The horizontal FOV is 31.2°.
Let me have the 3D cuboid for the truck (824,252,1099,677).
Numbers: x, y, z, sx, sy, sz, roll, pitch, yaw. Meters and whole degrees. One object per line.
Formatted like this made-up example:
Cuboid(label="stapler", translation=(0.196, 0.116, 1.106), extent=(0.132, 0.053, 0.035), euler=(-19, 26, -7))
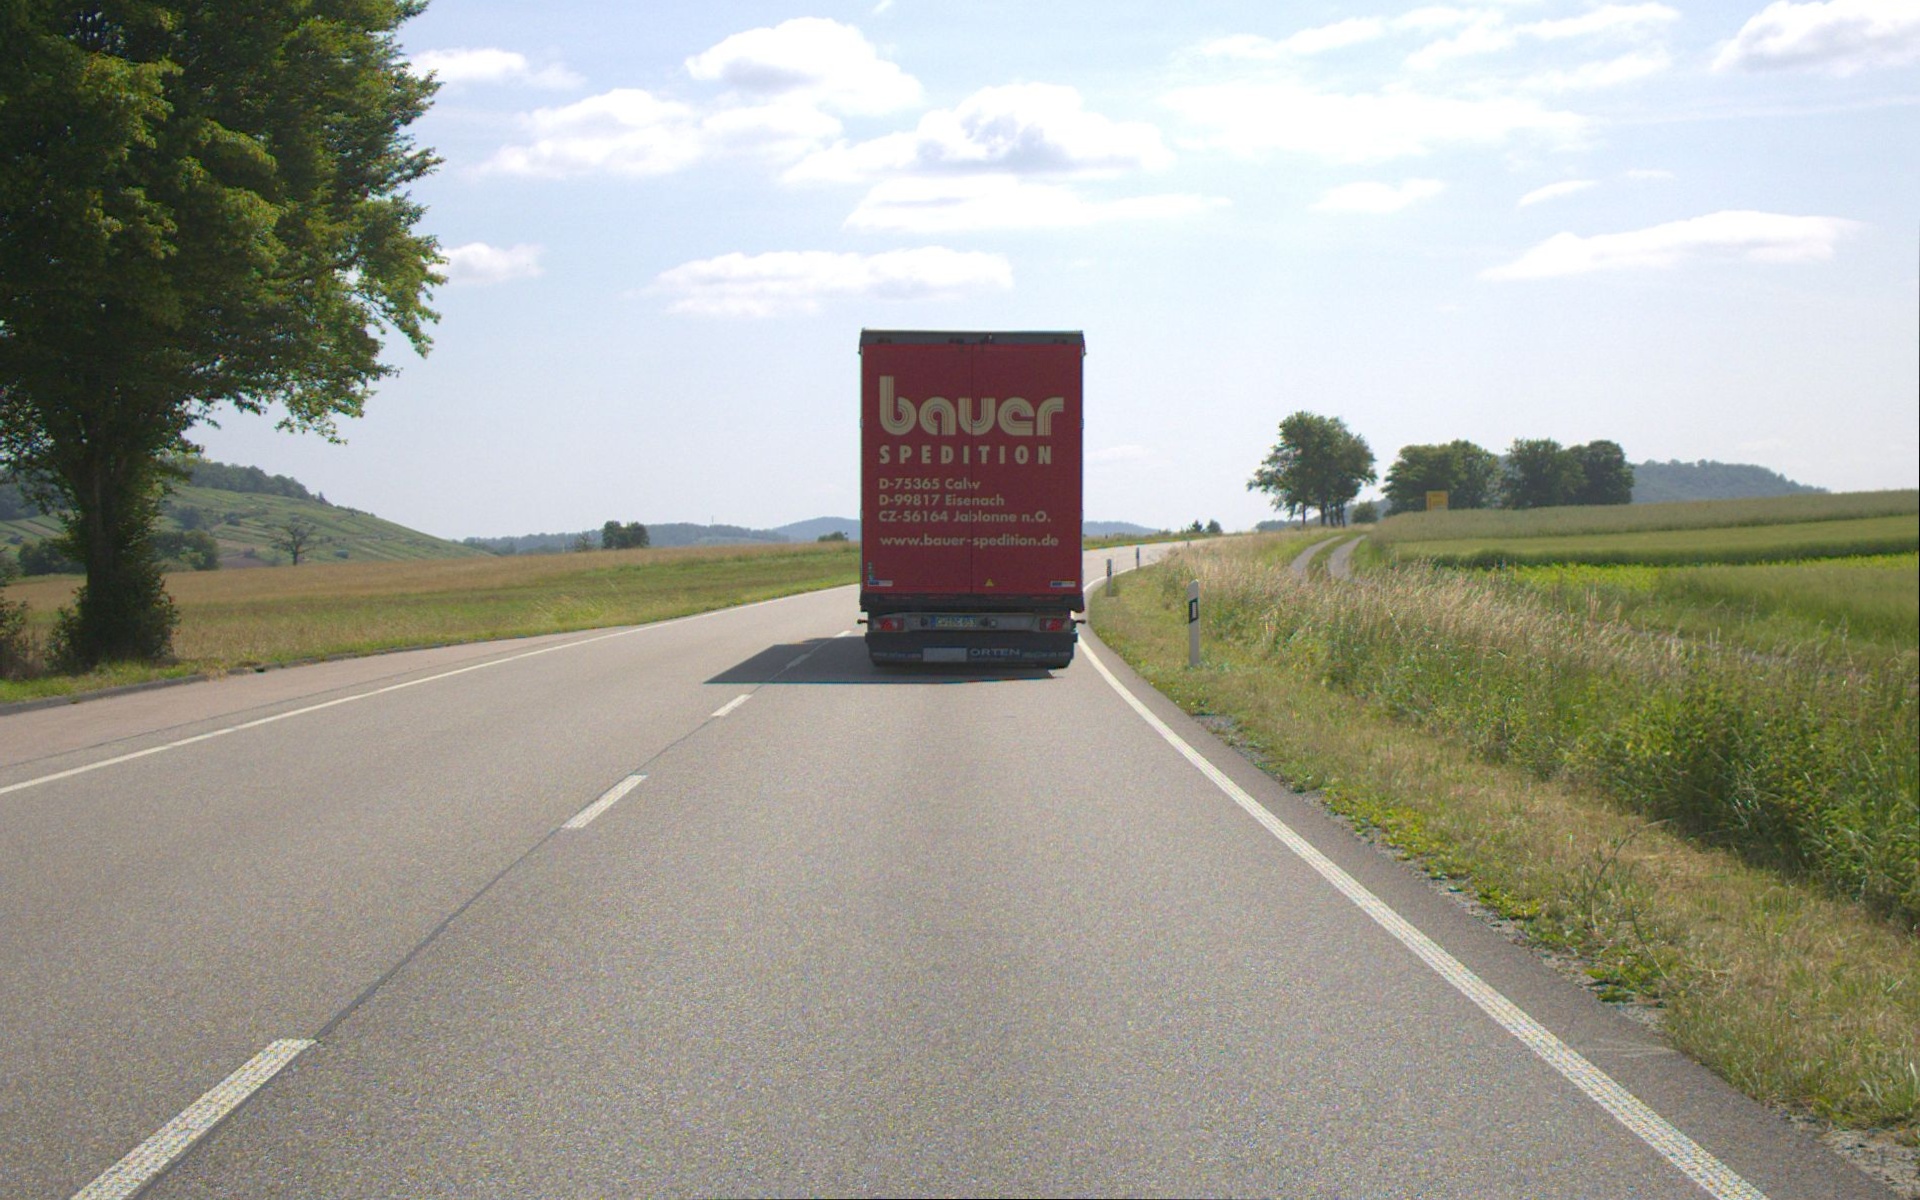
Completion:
Cuboid(label="truck", translation=(-0.101, -1.576, 43.404), extent=(2.975, 4.697, 9.367), euler=(1, 1, -1))
